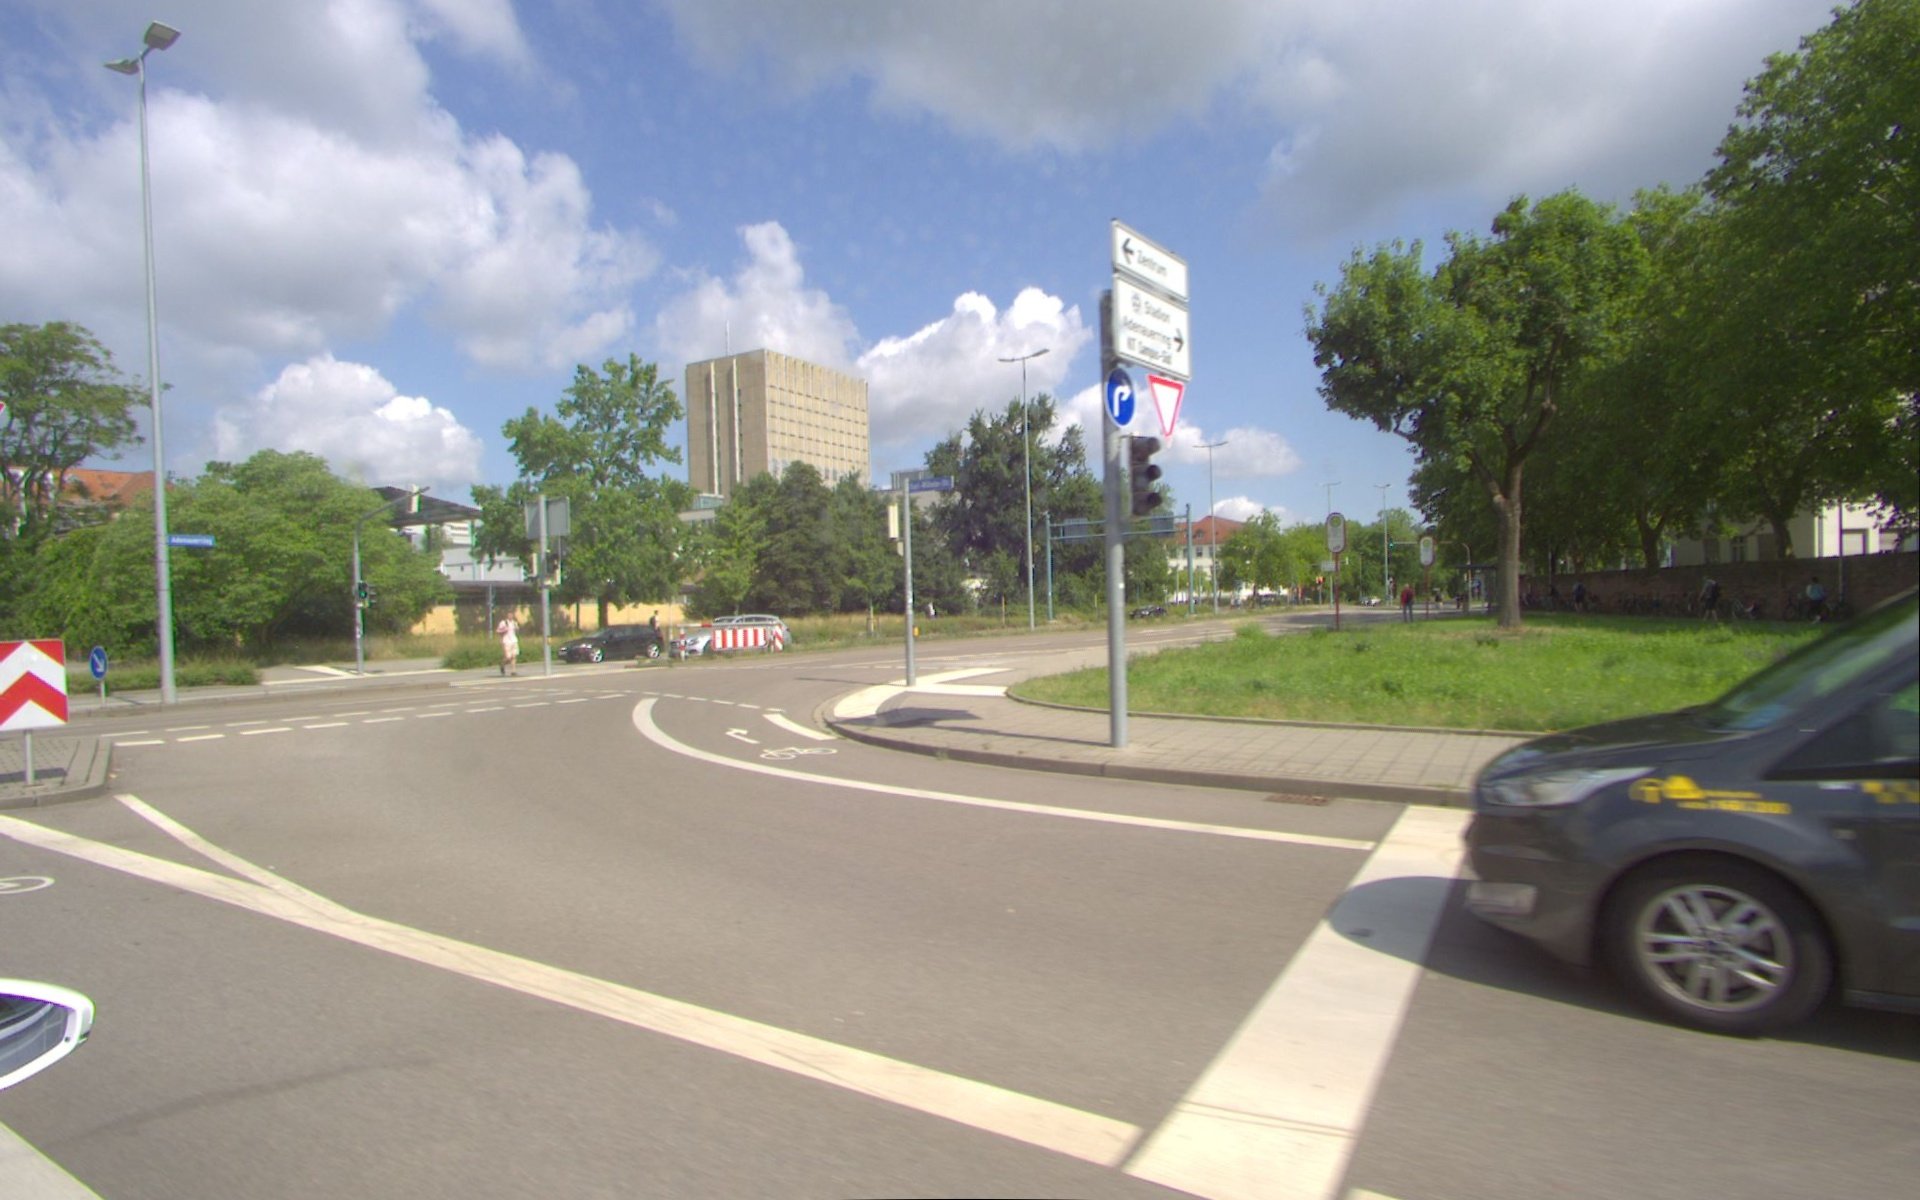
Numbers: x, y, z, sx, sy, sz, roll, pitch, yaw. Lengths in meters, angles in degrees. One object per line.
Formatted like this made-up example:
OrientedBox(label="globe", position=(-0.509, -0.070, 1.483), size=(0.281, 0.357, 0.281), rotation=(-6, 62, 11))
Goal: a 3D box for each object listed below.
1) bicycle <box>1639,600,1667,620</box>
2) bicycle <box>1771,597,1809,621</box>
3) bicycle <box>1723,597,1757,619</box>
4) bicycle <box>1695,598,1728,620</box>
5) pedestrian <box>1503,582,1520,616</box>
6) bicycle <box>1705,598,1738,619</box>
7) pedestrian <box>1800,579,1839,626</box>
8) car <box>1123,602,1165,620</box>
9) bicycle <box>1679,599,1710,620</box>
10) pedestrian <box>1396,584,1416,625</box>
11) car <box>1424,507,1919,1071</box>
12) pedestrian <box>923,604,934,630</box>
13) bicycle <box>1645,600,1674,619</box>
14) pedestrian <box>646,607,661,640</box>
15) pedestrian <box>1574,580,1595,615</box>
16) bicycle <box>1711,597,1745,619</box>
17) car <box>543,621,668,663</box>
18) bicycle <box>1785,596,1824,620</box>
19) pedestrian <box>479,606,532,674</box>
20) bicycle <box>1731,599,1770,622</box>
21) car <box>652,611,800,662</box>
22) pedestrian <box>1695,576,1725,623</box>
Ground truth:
OrientedBox(label="bicycle", position=(31.846, 0.460, 46.039), size=(0.955, 0.860, 0.482), rotation=(-1, 1, 10))
OrientedBox(label="bicycle", position=(30.092, 0.328, 36.306), size=(0.955, 0.860, 0.482), rotation=(-1, 1, 10))
OrientedBox(label="bicycle", position=(30.724, 0.304, 39.447), size=(0.955, 0.860, 0.482), rotation=(-1, 1, 10))
OrientedBox(label="bicycle", position=(31.064, 0.371, 41.399), size=(0.955, 0.860, 0.482), rotation=(-1, 1, 10))
OrientedBox(label="pedestrian", position=(29.736, -0.045, 53.997), size=(0.739, 1.803, 0.766), rotation=(-2, 1, 32))
OrientedBox(label="bicycle", position=(30.960, 0.347, 40.727), size=(0.955, 0.860, 0.482), rotation=(-1, 1, 10))
OrientedBox(label="pedestrian", position=(29.156, 0.078, 33.972), size=(0.712, 1.554, 0.724), rotation=(-2, 0, 8))
OrientedBox(label="car", position=(14.924, 0.888, 81.058), size=(1.774, 1.289, 3.973), rotation=(-1, 0, 35))
OrientedBox(label="bicycle", position=(31.238, 0.412, 42.594), size=(0.955, 0.860, 0.482), rotation=(-1, 1, 10))
OrientedBox(label="pedestrian", position=(20.112, 0.196, 45.176), size=(0.738, 1.803, 0.962), rotation=(-2, 1, 27))
OrientedBox(label="car", position=(4.283, 0.602, 3.511), size=(4.607, 1.808, 1.844), rotation=(-1, -1, 34))
OrientedBox(label="pedestrian", position=(-2.174, 1.169, 69.038), size=(0.534, 1.791, 0.522), rotation=(-1, -1, 28))
OrientedBox(label="bicycle", position=(31.773, 0.441, 45.464), size=(0.955, 0.860, 0.482), rotation=(-1, 1, 10))
OrientedBox(label="pedestrian", position=(-15.261, 1.162, 49.833), size=(0.534, 1.628, 0.522), rotation=(-1, -1, 28))
OrientedBox(label="pedestrian", position=(32.349, -0.128, 51.842), size=(0.874, 1.803, 0.766), rotation=(-2, 1, 32))
OrientedBox(label="bicycle", position=(30.808, 0.328, 40.181), size=(0.955, 0.860, 0.482), rotation=(-1, 1, 10))
OrientedBox(label="car", position=(-13.690, 1.591, 38.822), size=(1.977, 1.396, 4.125), rotation=(0, 1, 41))
OrientedBox(label="bicycle", position=(30.047, 0.284, 35.622), size=(0.955, 0.860, 0.482), rotation=(-1, 1, 10))
OrientedBox(label="pedestrian", position=(-13.082, 1.155, 28.831), size=(1.161, 1.881, 0.697), rotation=(-3, 0, 21))
OrientedBox(label="bicycle", position=(30.503, 0.399, 38.648), size=(1.053, 0.860, 0.499), rotation=(-1, 1, 10))
OrientedBox(label="car", position=(-7.996, 1.216, 34.637), size=(2.037, 1.460, 4.748), rotation=(-4, -1, 36))
OrientedBox(label="pedestrian", position=(28.470, -0.032, 38.017), size=(0.651, 1.746, 0.742), rotation=(-1, 1, 13))
